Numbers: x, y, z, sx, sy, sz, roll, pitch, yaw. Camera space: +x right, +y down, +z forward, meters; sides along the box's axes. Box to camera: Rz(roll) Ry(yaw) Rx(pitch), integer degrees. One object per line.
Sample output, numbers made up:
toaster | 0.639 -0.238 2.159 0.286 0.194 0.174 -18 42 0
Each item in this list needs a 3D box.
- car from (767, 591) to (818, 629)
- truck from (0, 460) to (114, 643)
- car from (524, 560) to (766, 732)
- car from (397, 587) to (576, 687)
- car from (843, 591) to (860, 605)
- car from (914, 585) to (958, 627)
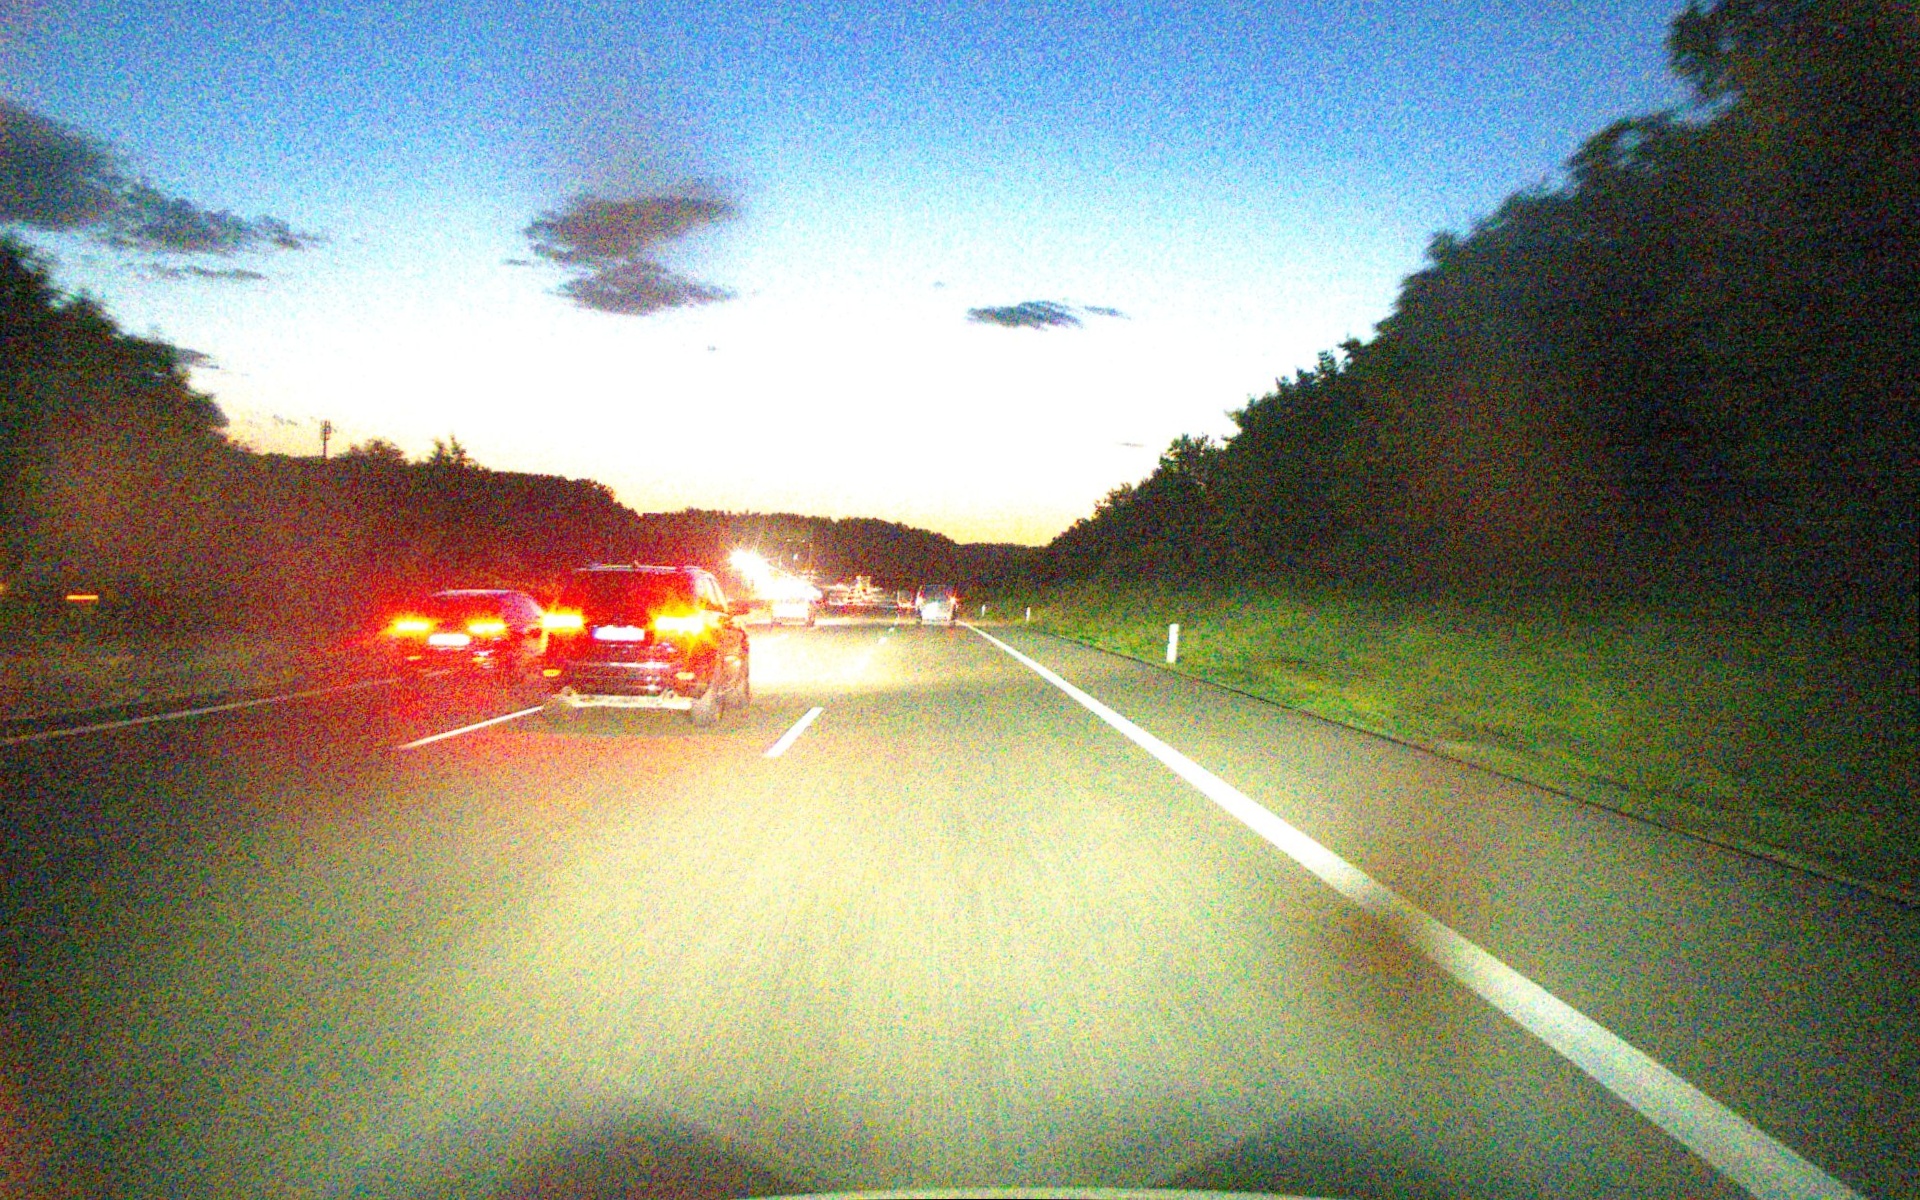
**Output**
car | -7.720 0.445 76.571 1.743 1.512 5.254 4 1 0
truck | -21.841 -1.059 35.703 2.468 3.919 9.064 1 0 0
car | -3.559 0.479 19.857 1.953 1.751 5.940 0 0 -2
car | -7.552 0.554 26.905 1.518 1.456 5.512 0 0 -2
car | -16.197 -0.308 247.556 2.152 1.989 4.633 4 1 0
car | -1.185 0.279 82.146 2.152 1.989 4.763 0 1 -1
